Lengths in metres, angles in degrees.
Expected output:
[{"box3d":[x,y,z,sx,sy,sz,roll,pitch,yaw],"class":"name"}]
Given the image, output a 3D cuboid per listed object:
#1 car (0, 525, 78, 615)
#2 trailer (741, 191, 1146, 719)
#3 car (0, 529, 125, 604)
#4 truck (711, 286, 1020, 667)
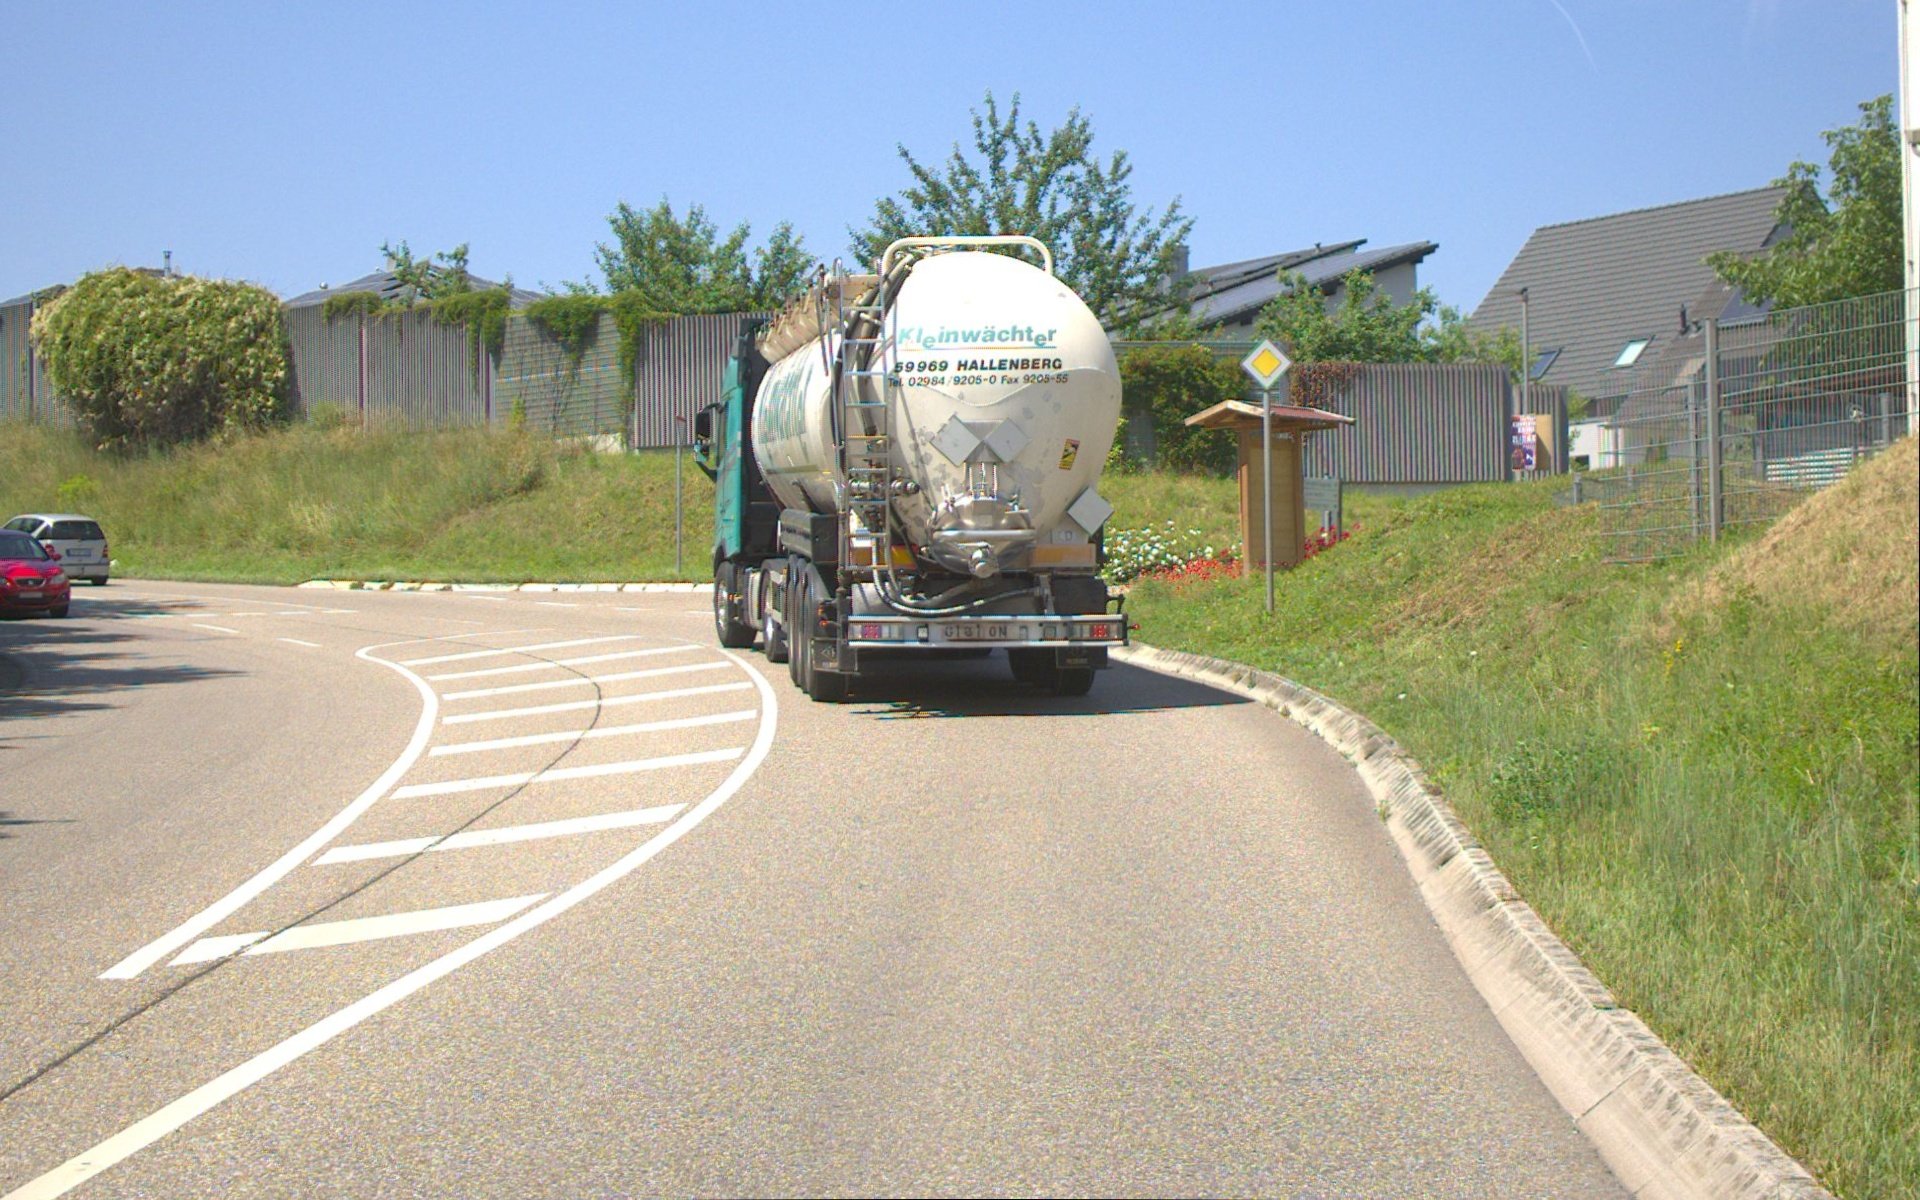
[{"box3d":[-16.308,-0.521,58.162,1.750,1.443,4.001,-2,2,-28],"class":"car"},{"box3d":[-0.495,-1.315,33.454,2.661,4.174,11.907,-1,2,-6],"class":"trailer"},{"box3d":[-19.631,-0.744,74.423,1.648,1.504,3.638,3,-1,-37],"class":"car"},{"box3d":[-1.243,-1.340,39.672,2.726,3.916,7.265,-2,1,-7],"class":"truck"}]
